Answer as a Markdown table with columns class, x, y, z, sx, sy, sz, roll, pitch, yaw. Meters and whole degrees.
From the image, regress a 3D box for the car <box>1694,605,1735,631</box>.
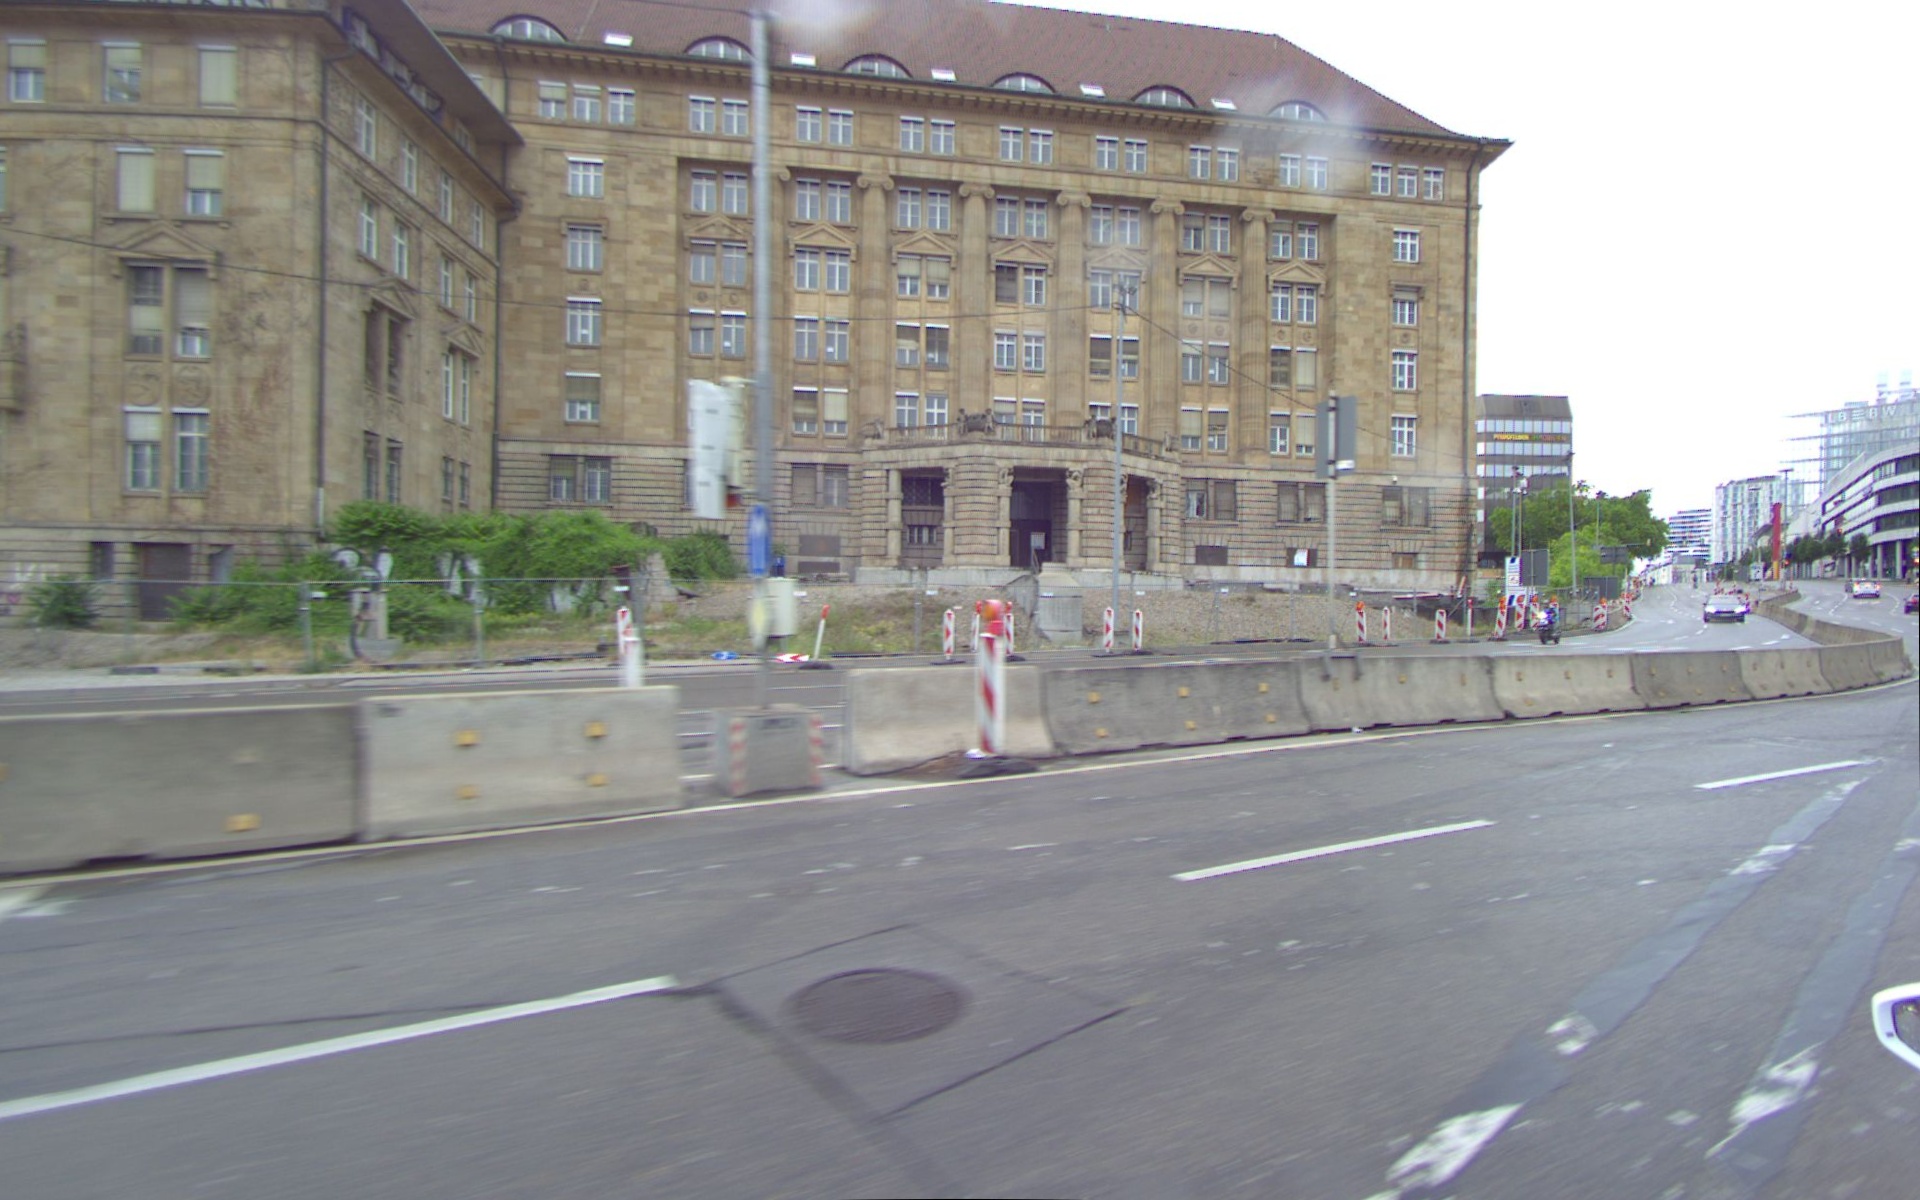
| class | x | y | z | sx | sy | sz | roll | pitch | yaw |
| --- | --- | --- | --- | --- | --- | --- | --- | --- | --- |
| car | 42.446 | 1.013 | 56.539 | 1.580 | 1.370 | 3.744 | 0 | -2 | 33 |

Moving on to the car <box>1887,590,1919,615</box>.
| class | x | y | z | sx | sy | sz | roll | pitch | yaw |
| --- | --- | --- | --- | --- | --- | --- | --- | --- | --- |
| car | 63.607 | 0.209 | 67.346 | 1.652 | 1.528 | 3.734 | 0 | -2 | 35 |

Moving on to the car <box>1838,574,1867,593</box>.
| class | x | y | z | sx | sy | sz | roll | pitch | yaw |
| --- | --- | --- | --- | --- | --- | --- | --- | --- | --- |
| car | 91.115 | -1.677 | 102.498 | 1.973 | 1.828 | 4.238 | 0 | 0 | 45 |

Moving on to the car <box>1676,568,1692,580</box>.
| class | x | y | z | sx | sy | sz | roll | pitch | yaw |
| --- | --- | --- | --- | --- | --- | --- | --- | --- | --- |
| car | 96.859 | -3.491 | 134.365 | 1.581 | 1.370 | 3.740 | 0 | -2 | 37 |

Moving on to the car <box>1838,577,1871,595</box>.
| class | x | y | z | sx | sy | sz | roll | pitch | yaw |
| --- | --- | --- | --- | --- | --- | --- | --- | --- | --- |
| car | 82.439 | -1.260 | 92.632 | 1.717 | 1.526 | 3.743 | 0 | 0 | 33 |

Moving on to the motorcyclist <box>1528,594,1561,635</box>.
| class | x | y | z | sx | sy | sz | roll | pitch | yaw |
| --- | --- | --- | --- | --- | --- | --- | --- | --- | --- |
| motorcyclist | 21.614 | 0.530 | 37.137 | 0.818 | 1.470 | 0.792 | -1 | 0 | -37 |

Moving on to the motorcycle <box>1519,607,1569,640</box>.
| class | x | y | z | sx | sy | sz | roll | pitch | yaw |
| --- | --- | --- | --- | --- | --- | --- | --- | --- | --- |
| motorcycle | 21.608 | 0.859 | 37.156 | 2.135 | 1.164 | 0.862 | -1 | 0 | -38 |
